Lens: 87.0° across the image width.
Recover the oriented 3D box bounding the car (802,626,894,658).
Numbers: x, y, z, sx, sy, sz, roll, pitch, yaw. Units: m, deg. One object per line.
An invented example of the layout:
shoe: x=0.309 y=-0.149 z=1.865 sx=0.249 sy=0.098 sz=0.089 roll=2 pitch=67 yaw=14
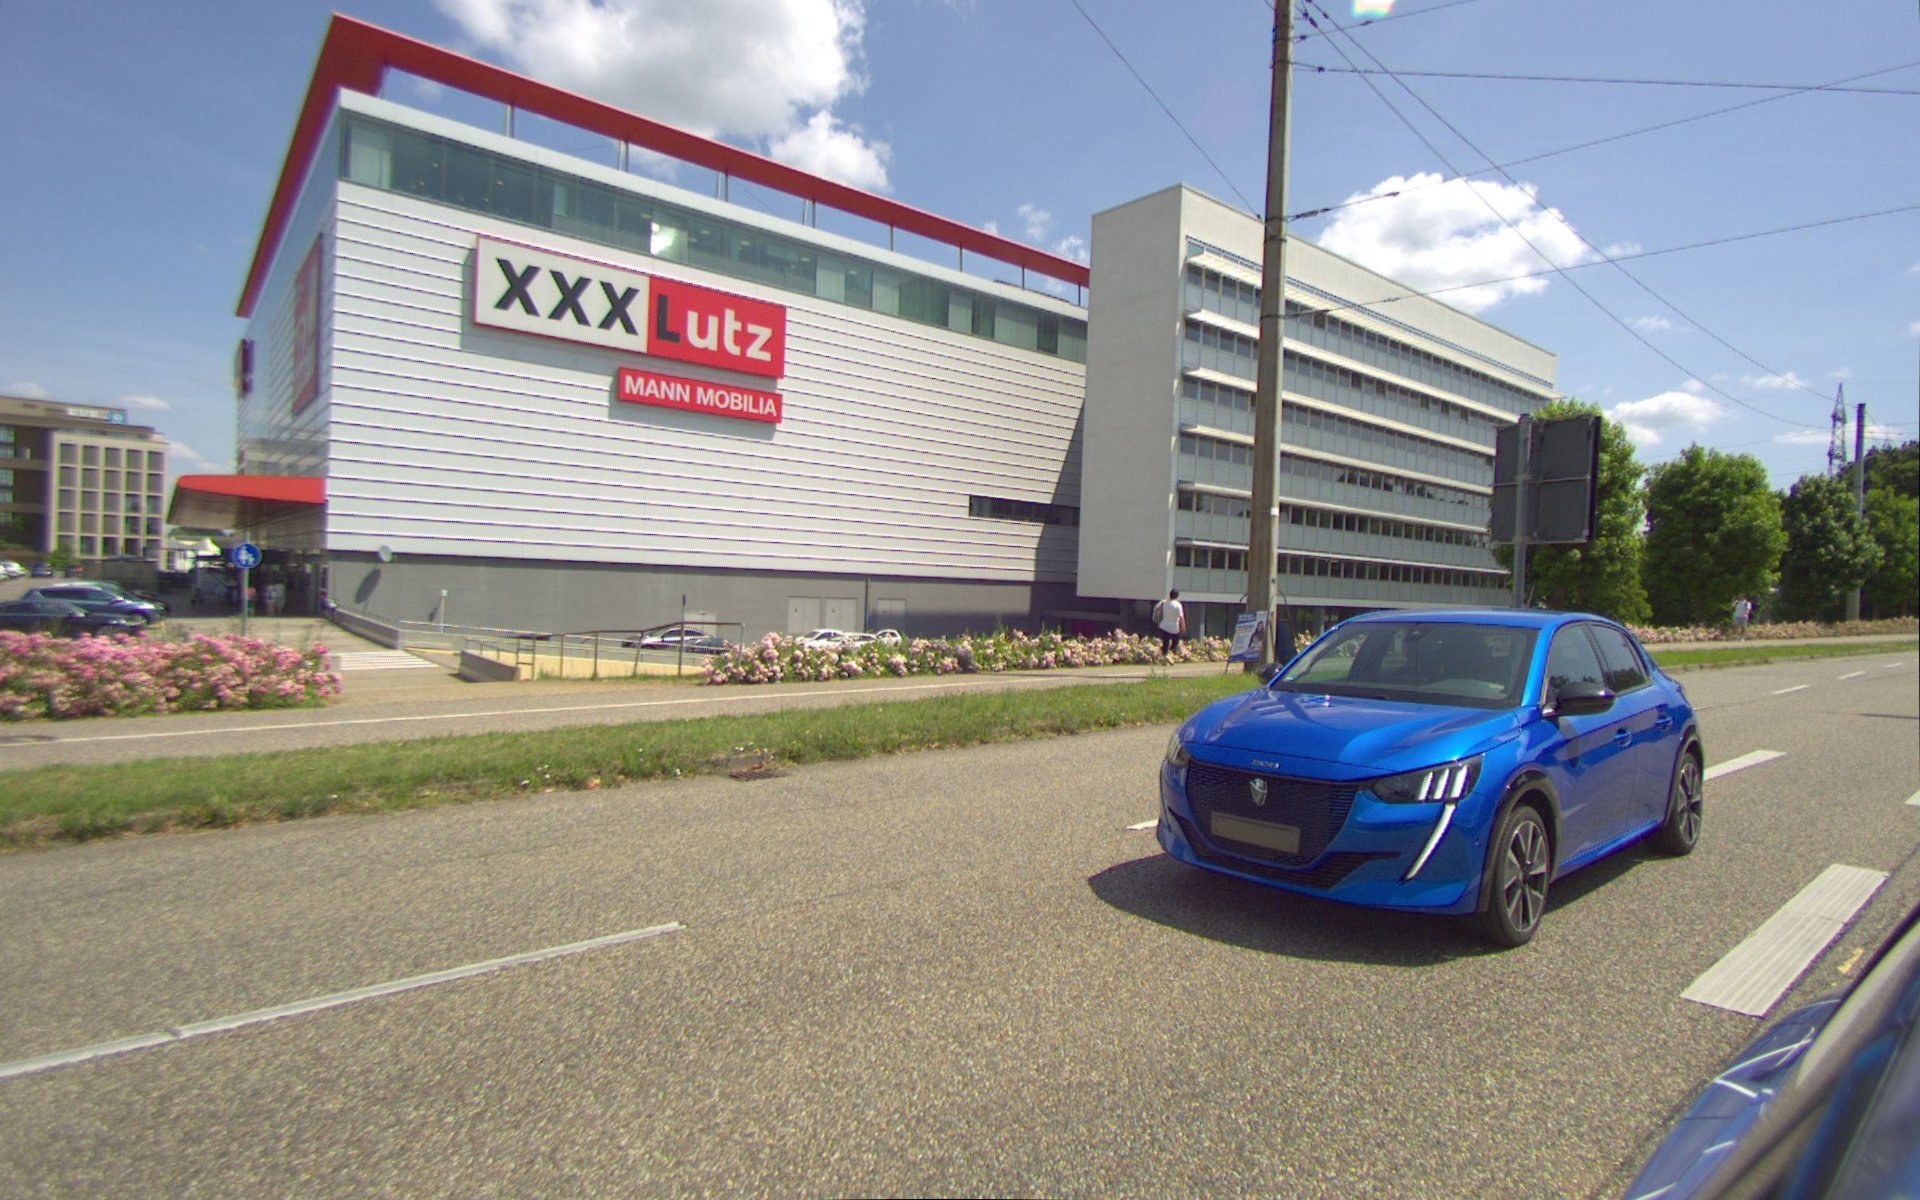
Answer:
car: x=-6.455 y=2.393 z=58.614 sx=5.056 sy=1.632 sz=1.997 roll=0 pitch=0 yaw=-41

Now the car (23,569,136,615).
car: x=-41.254 y=-0.362 z=47.518 sx=3.930 sy=2.039 sz=1.997 roll=0 pitch=0 yaw=-41

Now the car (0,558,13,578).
car: x=-82.191 y=-2.686 z=84.166 sx=4.912 sy=1.631 sz=1.997 roll=0 pitch=0 yaw=-41

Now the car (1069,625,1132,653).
car: x=9.083 y=2.462 z=65.334 sx=3.930 sy=1.632 sz=1.997 roll=0 pitch=0 yaw=-41

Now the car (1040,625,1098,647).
car: x=7.258 y=2.390 z=67.347 sx=3.930 sy=1.338 sz=1.607 roll=0 pitch=0 yaw=-41

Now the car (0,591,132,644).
car: x=-29.869 y=0.544 z=32.606 sx=4.912 sy=1.631 sz=1.997 roll=0 pitch=0 yaw=-41

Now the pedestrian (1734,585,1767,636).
pedestrian: x=29.521 y=0.377 z=37.794 sx=0.913 sy=1.872 sz=0.758 roll=0 pitch=0 yaw=-38

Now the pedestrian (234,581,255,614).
pedestrian: x=-34.018 y=-0.117 z=48.126 sx=0.723 sy=1.577 sz=0.741 roll=1 pitch=0 yaw=-42

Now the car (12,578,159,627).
car: x=-33.957 y=0.089 z=39.447 sx=4.256 sy=1.804 sz=1.997 roll=0 pitch=-1 yaw=-41

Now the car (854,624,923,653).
car: x=-4.498 y=2.391 z=63.821 sx=3.930 sy=1.632 sz=1.997 roll=0 pitch=0 yaw=-41

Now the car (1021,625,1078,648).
car: x=6.134 y=2.461 z=69.109 sx=3.930 sy=1.403 sz=1.646 roll=0 pitch=0 yaw=-41

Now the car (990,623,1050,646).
car: x=4.226 y=2.399 z=70.981 sx=3.930 sy=1.465 sz=1.997 roll=0 pitch=0 yaw=-41

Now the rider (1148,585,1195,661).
rider: x=4.202 y=0.447 z=20.092 sx=0.607 sy=1.476 sz=0.670 roll=0 pitch=0 yaw=-41

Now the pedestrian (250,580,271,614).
pedestrian: x=-32.980 y=-0.138 z=47.731 sx=0.723 sy=1.577 sz=0.741 roll=1 pitch=0 yaw=-42

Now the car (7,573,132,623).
car: x=-37.925 y=-0.098 z=43.204 sx=3.930 sy=2.039 sz=1.997 roll=0 pitch=1 yaw=-41

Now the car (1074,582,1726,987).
car: x=2.657 y=0.679 z=5.678 sx=3.929 sy=1.473 sz=1.840 roll=1 pitch=0 yaw=-41

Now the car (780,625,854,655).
car: x=-8.535 y=2.379 z=60.585 sx=3.930 sy=1.632 sz=1.997 roll=0 pitch=0 yaw=-41

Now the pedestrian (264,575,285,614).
pedestrian: x=-33.173 y=-0.276 z=48.981 sx=0.723 sy=1.893 sz=0.741 roll=1 pitch=0 yaw=-42

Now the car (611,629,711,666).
car: x=-15.288 y=2.400 z=51.838 sx=4.509 sy=1.632 sz=1.997 roll=0 pitch=0 yaw=-41
